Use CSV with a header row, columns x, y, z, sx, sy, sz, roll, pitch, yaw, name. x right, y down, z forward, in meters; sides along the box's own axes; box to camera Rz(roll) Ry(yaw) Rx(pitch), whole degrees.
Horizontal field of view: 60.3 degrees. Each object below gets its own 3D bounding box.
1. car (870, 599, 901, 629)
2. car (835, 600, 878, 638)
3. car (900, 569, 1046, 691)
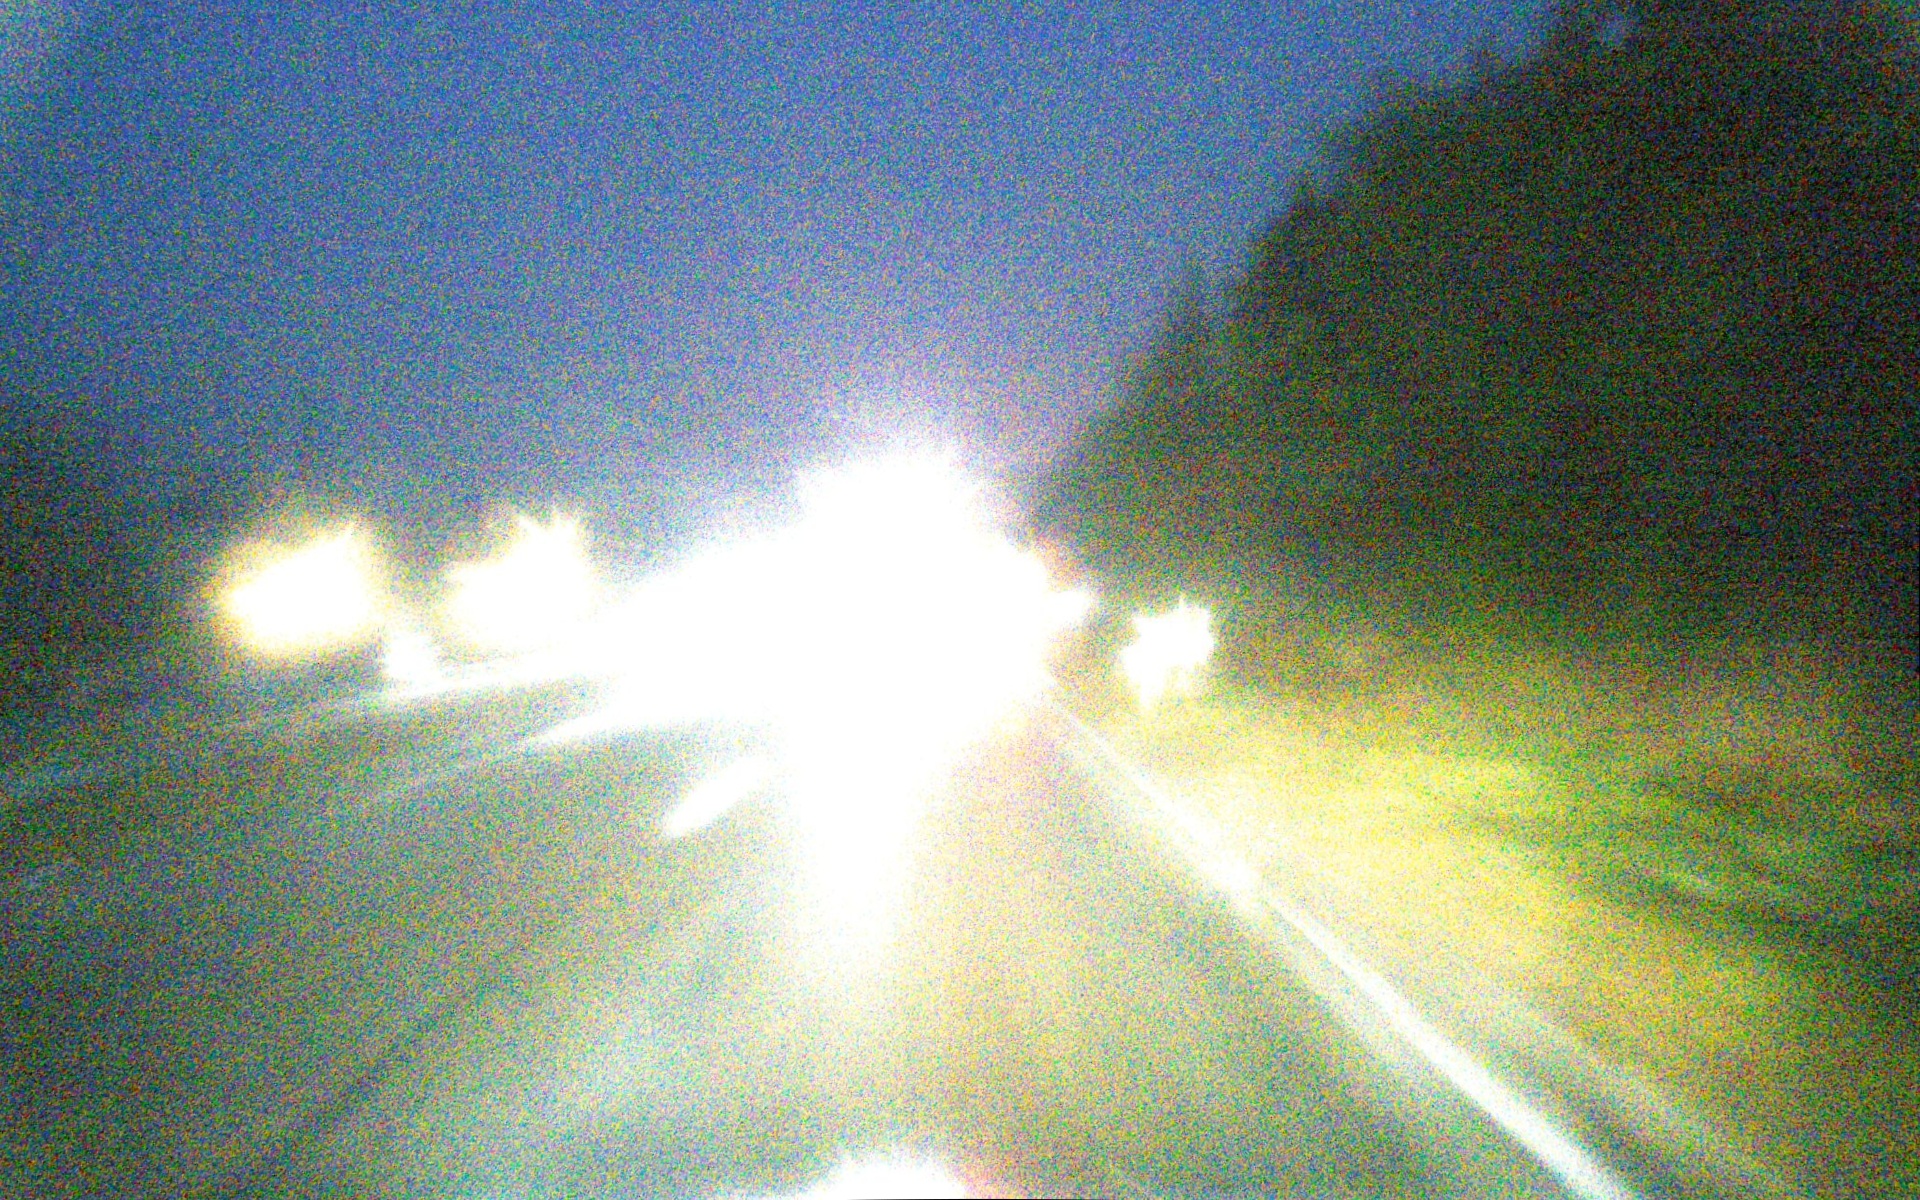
x,y,z,sx,sy,sz,roll,pitch,yaw,name
-4.690,0.860,104.621,1.817,1.712,4.324,-2,1,-1,car
-4.501,0.811,72.366,1.759,1.565,3.799,-2,0,-3,car
0.169,0.511,29.848,2.408,1.993,4.910,1,0,-1,car
